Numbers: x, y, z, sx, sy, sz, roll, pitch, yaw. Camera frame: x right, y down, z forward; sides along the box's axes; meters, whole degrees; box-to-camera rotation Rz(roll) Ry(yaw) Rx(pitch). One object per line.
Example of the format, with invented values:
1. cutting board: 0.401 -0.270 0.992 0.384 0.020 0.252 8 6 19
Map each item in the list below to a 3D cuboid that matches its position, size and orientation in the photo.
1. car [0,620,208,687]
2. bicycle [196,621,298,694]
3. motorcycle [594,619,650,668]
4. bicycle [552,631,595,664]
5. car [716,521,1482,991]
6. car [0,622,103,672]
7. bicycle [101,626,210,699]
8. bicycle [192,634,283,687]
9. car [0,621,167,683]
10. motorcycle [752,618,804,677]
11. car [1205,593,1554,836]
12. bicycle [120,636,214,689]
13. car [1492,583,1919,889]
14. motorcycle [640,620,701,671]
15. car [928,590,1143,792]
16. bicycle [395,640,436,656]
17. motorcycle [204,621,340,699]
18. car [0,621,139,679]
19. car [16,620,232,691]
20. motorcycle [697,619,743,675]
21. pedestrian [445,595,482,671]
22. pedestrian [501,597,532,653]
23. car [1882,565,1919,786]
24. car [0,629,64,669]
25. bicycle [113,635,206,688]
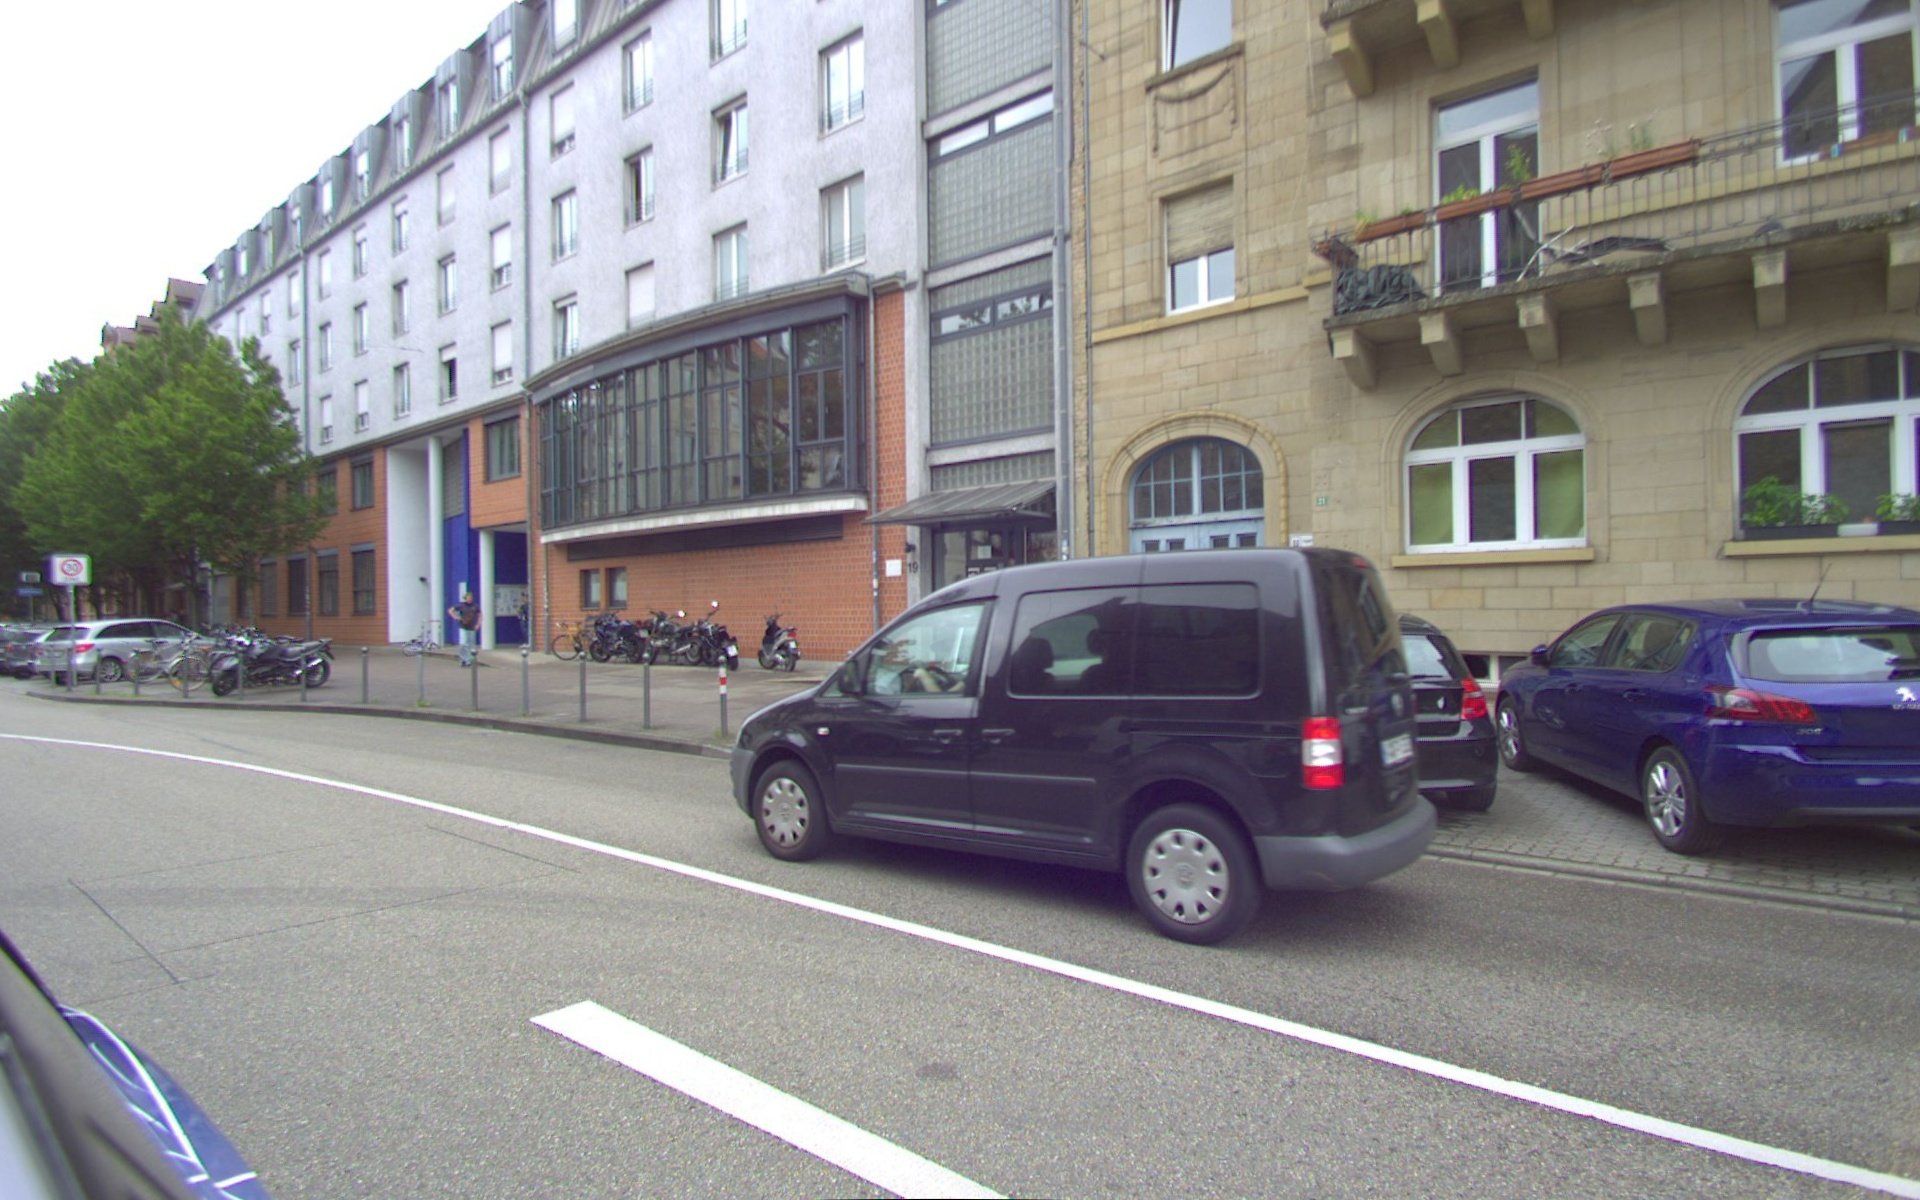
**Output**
1. car: -23.309 1.406 27.738 1.983 1.641 3.977 -1 -1 18
2. bicycle: -14.450 1.141 20.541 0.416 1.363 1.610 -2 1 39
3. motorcycle: -7.997 1.017 23.877 1.762 1.106 0.440 -2 -1 42
4. bicycle: -9.823 1.199 25.711 1.581 0.793 0.332 -2 -1 42
5. car: 0.569 0.653 5.867 4.123 1.817 1.677 -2 -2 38
6. car: -32.657 1.621 35.148 1.983 1.641 3.977 -1 -1 18
7. bicycle: -15.869 1.210 19.991 0.416 1.299 1.610 -2 1 39
8. bicycle: -16.552 1.373 23.211 0.416 1.082 1.610 -2 1 39
9. car: -25.954 1.452 29.589 1.983 1.641 3.977 -1 -1 18
10. motorcycle: -3.601 0.909 19.941 0.438 1.106 1.768 0 -1 -29
11. car: 3.142 0.735 8.448 1.713 1.449 3.990 -2 1 9
12. bicycle: -18.040 1.397 23.059 0.416 1.082 1.610 -2 1 39
13. car: 5.273 0.674 6.910 1.804 1.456 3.737 -2 1 10
14. motorcycle: -6.472 0.998 22.573 1.762 1.106 0.440 -2 -1 42
15. car: 0.661 0.735 10.365 1.710 1.565 3.999 -2 1 1
16. bicycle: -16.672 1.475 30.976 0.527 0.440 0.997 1 0 42
17. motorcycle: -13.469 1.135 19.863 0.599 1.363 2.096 -2 1 41
18. car: -28.175 1.492 31.248 1.983 1.641 3.977 -1 -1 18
19. car: -21.300 1.360 25.998 1.758 1.641 3.977 -1 -1 18
20. motorcycle: -4.955 0.946 20.839 0.438 1.106 1.768 0 -1 -29
21. pedestrian: -12.267 0.801 25.001 0.641 1.837 0.613 -2 -1 41
22. pedestrian: -13.470 0.756 30.749 0.622 1.662 0.677 -1 0 42
23. car: 7.558 0.546 5.403 1.681 1.565 3.997 -2 1 3
24. car: -37.727 1.910 39.414 1.723 1.508 3.977 -1 -1 18
25. bicycle: -18.463 1.402 23.363 0.416 1.082 1.610 -2 1 39
